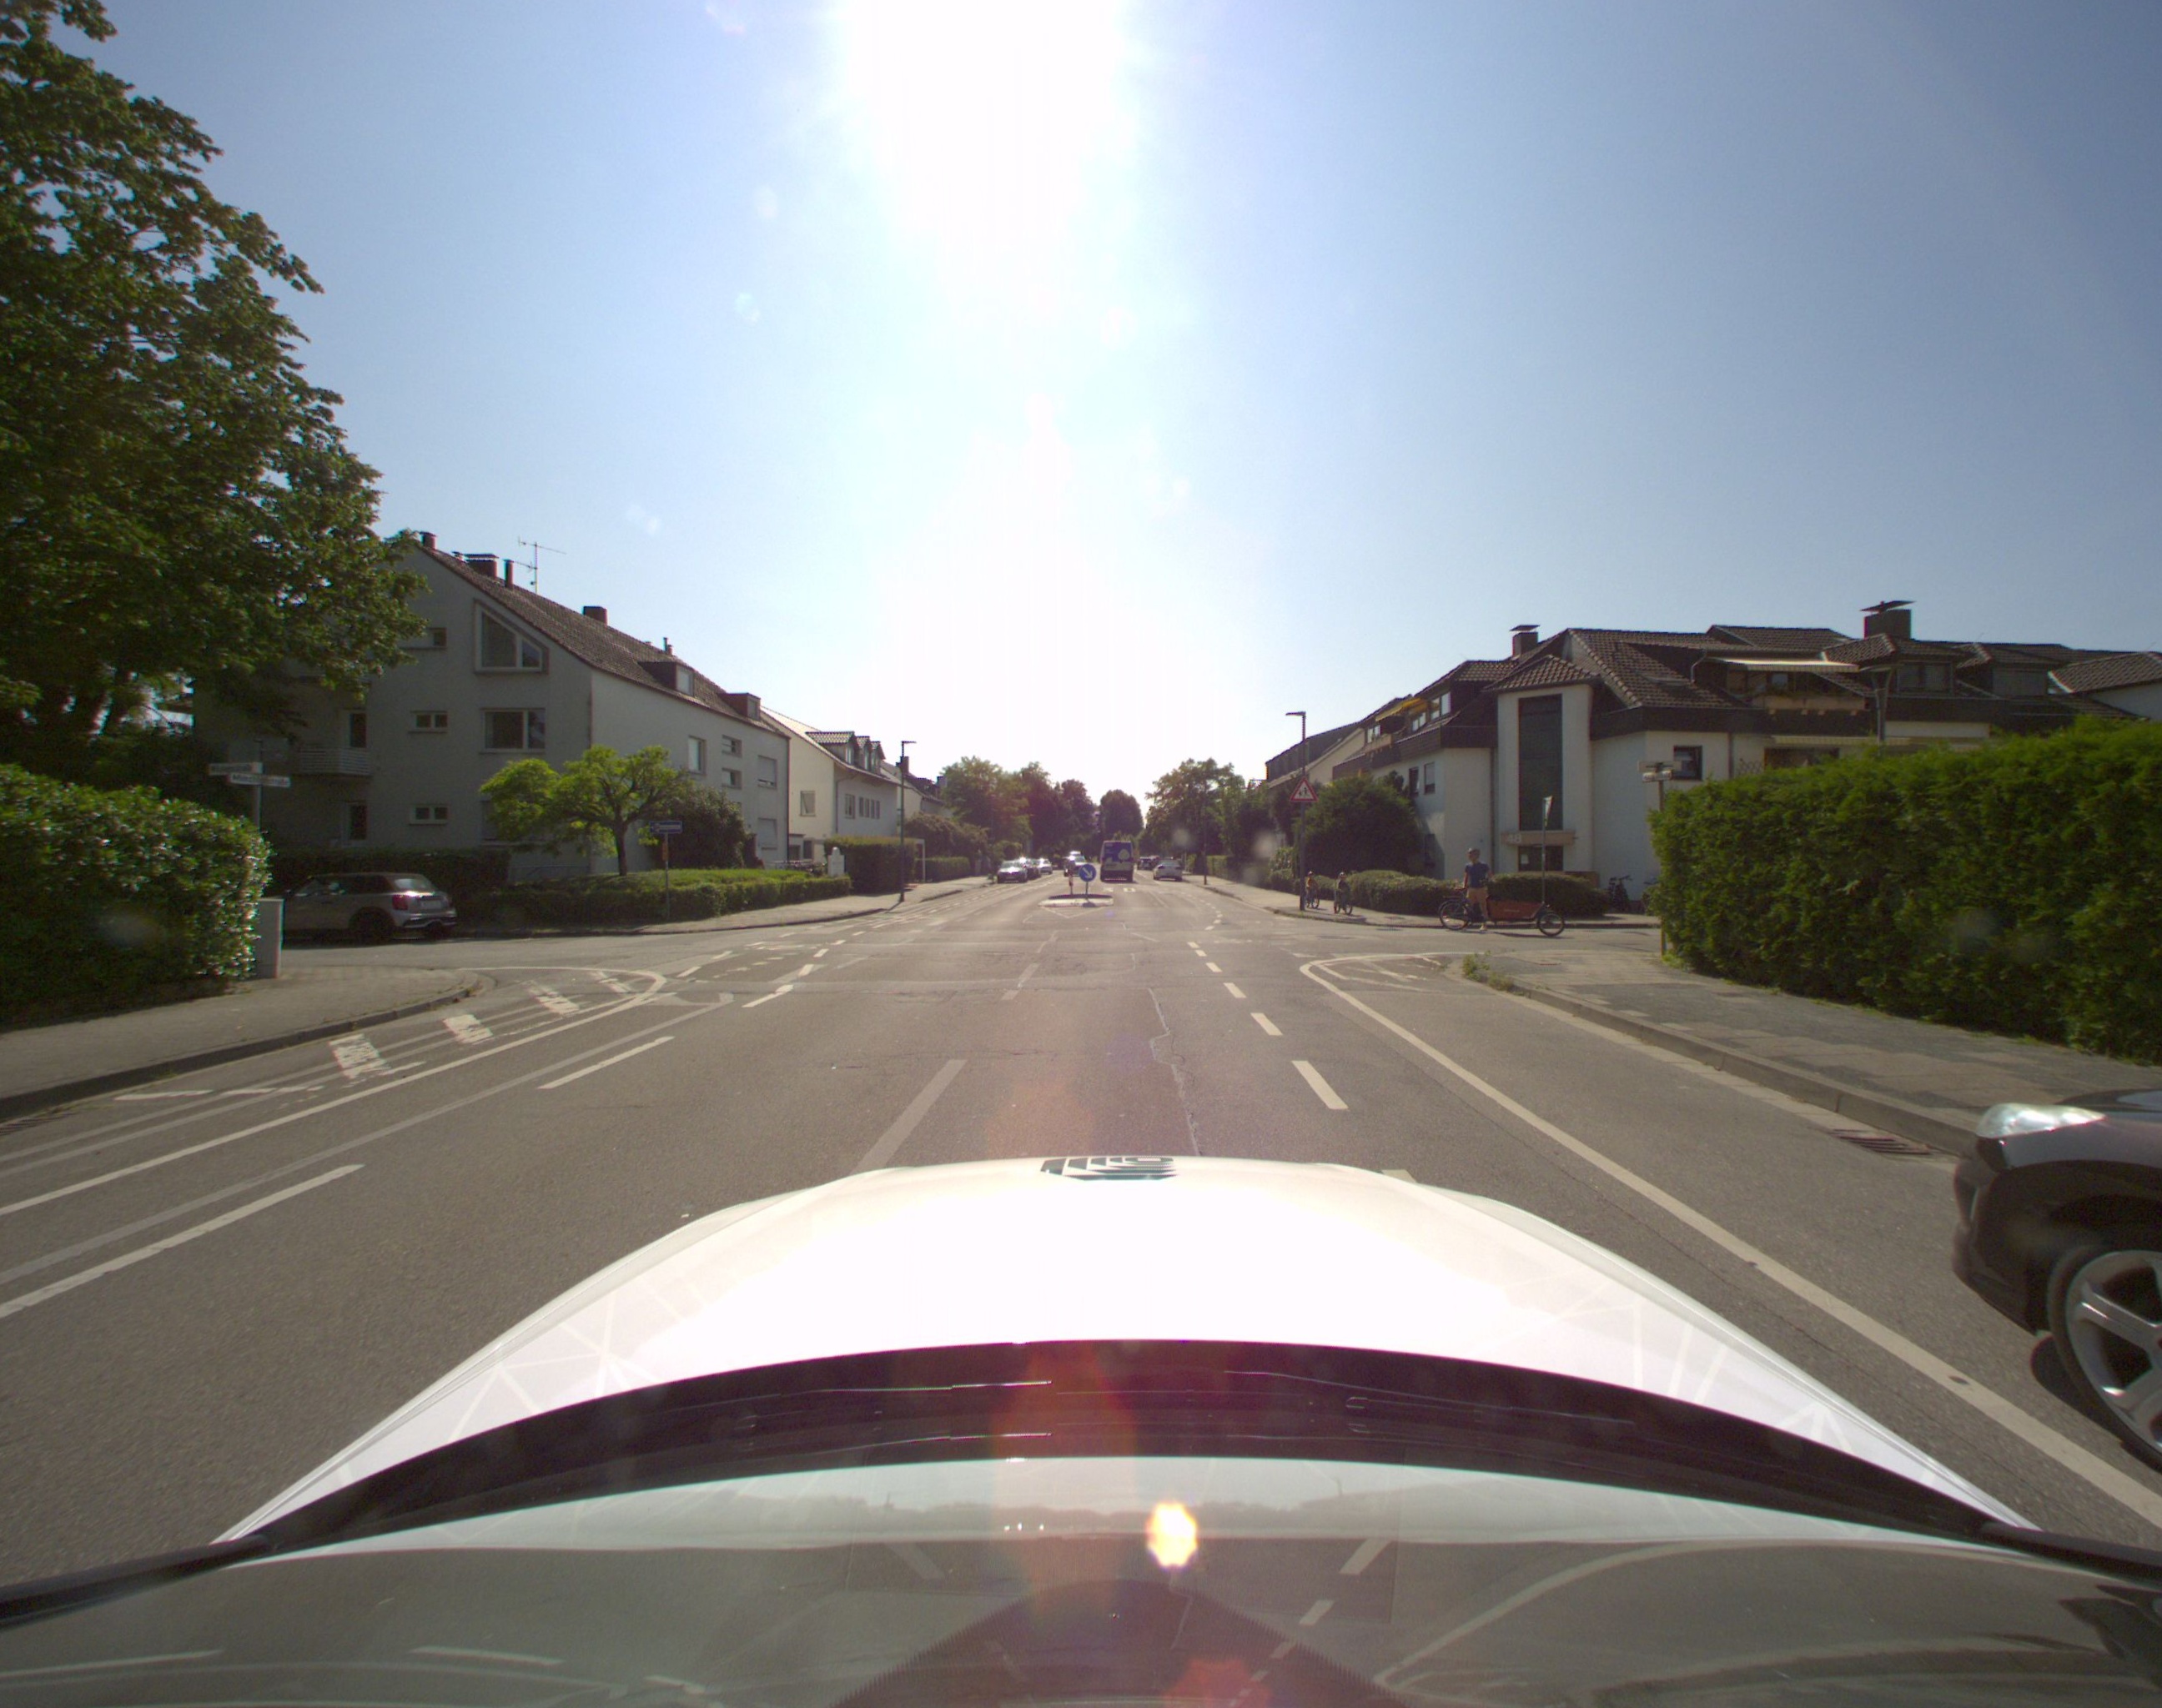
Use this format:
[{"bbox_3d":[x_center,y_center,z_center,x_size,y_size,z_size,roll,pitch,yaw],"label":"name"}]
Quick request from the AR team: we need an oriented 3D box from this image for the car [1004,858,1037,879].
[{"bbox_3d":[-4.350,1.001,59.157,1.777,1.440,4.115,-1,0,4],"label":"car"}]

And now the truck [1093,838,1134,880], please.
[{"bbox_3d":[2.065,0.325,52.730,2.267,2.571,4.386,0,-1,-3],"label":"truck"}]

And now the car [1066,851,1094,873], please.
[{"bbox_3d":[-0.043,0.658,66.528,1.907,1.666,4.509,-2,-1,3],"label":"car"}]

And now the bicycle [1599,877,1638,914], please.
[{"bbox_3d":[17.328,1.318,26.233,1.695,1.095,0.625,-2,1,-41],"label":"bicycle"}]

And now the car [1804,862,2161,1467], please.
[{"bbox_3d":[3.492,0.769,0.817,1.730,1.468,4.345,3,-1,1],"label":"car"}]

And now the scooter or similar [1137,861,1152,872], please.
[{"bbox_3d":[7.850,1.541,100.890,0.724,1.154,1.775,4,-1,-43],"label":"scooter or similar"}]

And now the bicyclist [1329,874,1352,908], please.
[{"bbox_3d":[7.136,1.006,22.410,0.400,0.929,0.657,0,-1,-1],"label":"bicyclist"}]

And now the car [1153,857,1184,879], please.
[{"bbox_3d":[5.923,0.950,55.575,1.734,1.402,4.075,2,0,1],"label":"car"}]

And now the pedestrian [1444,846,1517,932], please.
[{"bbox_3d":[9.085,0.777,18.552,0.904,1.872,1.177,1,-1,-31],"label":"pedestrian"}]

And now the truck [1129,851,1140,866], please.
[{"bbox_3d":[10.425,0.836,159.078,2.205,2.946,5.690,0,-1,3],"label":"truck"}]

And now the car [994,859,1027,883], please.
[{"bbox_3d":[-4.500,1.060,52.514,1.780,1.440,4.153,-1,0,-1],"label":"car"}]

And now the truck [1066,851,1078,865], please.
[{"bbox_3d":[-1.647,0.706,145.627,2.074,2.537,5.465,0,0,-1],"label":"truck"}]

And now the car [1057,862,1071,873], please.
[{"bbox_3d":[-2.257,1.834,110.524,1.774,1.460,4.087,0,-1,1],"label":"car"}]

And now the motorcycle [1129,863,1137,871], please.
[{"bbox_3d":[7.729,1.888,121.112,1.052,1.122,2.993,0,-1,2],"label":"motorcycle"}]

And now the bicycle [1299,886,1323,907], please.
[{"bbox_3d":[7.007,1.292,24.839,0.400,0.599,1.151,0,0,0],"label":"bicycle"}]

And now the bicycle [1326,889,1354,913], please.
[{"bbox_3d":[7.139,1.283,22.469,0.400,0.599,1.173,0,0,0],"label":"bicycle"}]

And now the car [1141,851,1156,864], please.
[{"bbox_3d":[8.553,0.424,103.775,1.777,1.638,4.474,1,0,3],"label":"car"}]

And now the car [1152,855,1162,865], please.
[{"bbox_3d":[12.867,1.042,137.782,1.692,1.677,3.780,0,0,5],"label":"car"}]

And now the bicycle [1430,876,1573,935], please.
[{"bbox_3d":[9.138,1.086,17.758,2.676,1.158,0.869,0,-1,34],"label":"bicycle"}]

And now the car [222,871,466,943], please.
[{"bbox_3d":[-15.191,1.062,16.922,3.479,1.412,1.727,0,-1,1],"label":"car"}]

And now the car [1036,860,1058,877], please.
[{"bbox_3d":[-3.115,1.333,75.649,1.778,1.440,4.002,0,0,2],"label":"car"}]

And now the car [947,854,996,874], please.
[{"bbox_3d":[-9.590,0.845,71.534,3.971,1.759,2.001,0,0,2],"label":"car"}]

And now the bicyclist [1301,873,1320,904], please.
[{"bbox_3d":[6.989,1.043,24.847,0.397,0.933,0.608,0,-1,-1],"label":"bicyclist"}]

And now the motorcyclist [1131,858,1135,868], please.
[{"bbox_3d":[7.720,1.355,121.062,0.669,1.519,0.652,0,-1,2],"label":"motorcyclist"}]
